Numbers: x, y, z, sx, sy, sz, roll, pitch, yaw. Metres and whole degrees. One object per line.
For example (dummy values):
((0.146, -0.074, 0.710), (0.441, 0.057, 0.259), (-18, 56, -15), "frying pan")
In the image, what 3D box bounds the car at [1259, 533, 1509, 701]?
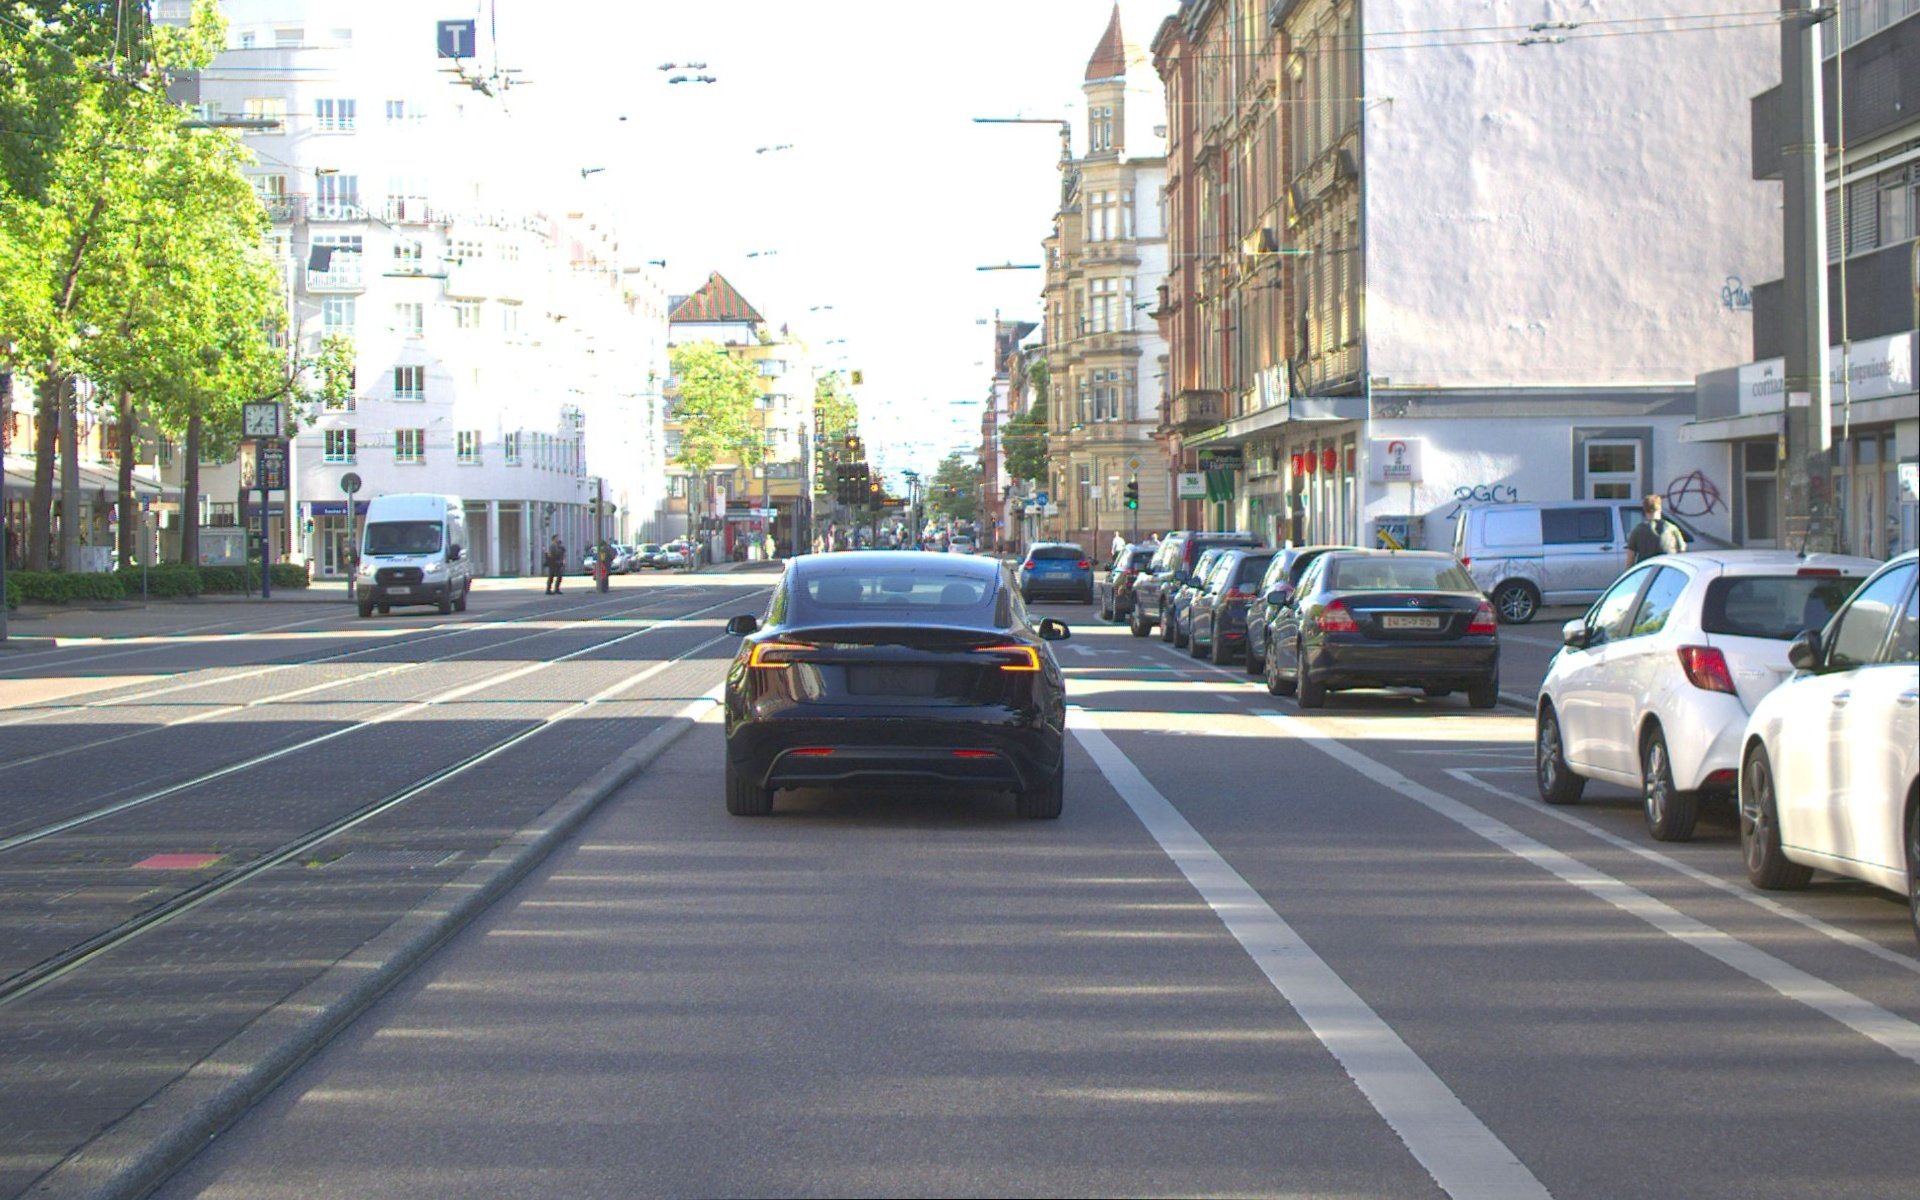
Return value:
((3.936, 0.126, 32.580), (1.710, 1.452, 4.551), (1, 1, -1), "car")

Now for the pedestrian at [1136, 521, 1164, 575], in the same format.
((5.759, -1.575, 104.311), (0.748, 1.611, 0.706), (-1, 0, -3), "pedestrian")

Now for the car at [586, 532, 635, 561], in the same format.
((-16.834, -2.557, 165.722), (1.993, 1.363, 4.000), (0, 1, -1), "car")

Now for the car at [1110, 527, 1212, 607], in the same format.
((3.786, -0.627, 65.169), (1.715, 1.467, 3.719), (0, 1, 0), "car")

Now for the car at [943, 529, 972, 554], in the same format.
((-0.154, -3.761, 221.042), (1.846, 1.587, 4.000), (-1, 1, 0), "car")

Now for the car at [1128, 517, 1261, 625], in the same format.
((3.671, -0.445, 54.404), (1.829, 1.622, 4.095), (1, 0, 0), "car")

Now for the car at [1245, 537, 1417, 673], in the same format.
((4.134, 0.056, 38.713), (1.578, 1.442, 3.309), (1, 0, 0), "car")

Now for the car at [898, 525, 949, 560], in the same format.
((-1.681, -2.604, 157.131), (1.993, 1.520, 4.001), (1, 0, -5), "car")

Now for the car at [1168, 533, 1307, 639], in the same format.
((3.948, -0.195, 49.374), (1.578, 1.439, 3.914), (1, 0, -1), "car")

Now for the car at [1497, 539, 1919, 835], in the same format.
((4.228, 0.424, 19.178), (1.601, 1.438, 3.885), (2, 0, -3), "car")

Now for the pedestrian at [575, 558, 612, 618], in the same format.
((-10.504, -0.346, 98.599), (0.845, 1.689, 0.796), (2, 1, 7), "pedestrian")

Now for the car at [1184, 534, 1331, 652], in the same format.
((3.786, -0.084, 44.254), (1.461, 1.427, 3.814), (1, 0, -1), "car")

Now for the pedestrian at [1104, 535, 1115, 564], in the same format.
((6.282, -2.134, 144.510), (0.441, 1.217, 0.389), (0, 1, -1), "pedestrian")

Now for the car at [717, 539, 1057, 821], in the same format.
((-0.430, 0.381, 19.533), (1.719, 1.400, 3.710), (1, 1, -2), "car")

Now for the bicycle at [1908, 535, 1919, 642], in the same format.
((12.027, -0.120, 39.743), (2.174, 1.215, 0.805), (1, 0, -33), "bicycle")

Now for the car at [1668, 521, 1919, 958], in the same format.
((4.164, 0.492, 13.781), (1.541, 1.564, 4.444), (1, 1, -2), "car")

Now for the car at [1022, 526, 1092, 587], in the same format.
((2.315, -1.040, 82.923), (1.593, 1.428, 3.686), (0, 1, 0), "car")

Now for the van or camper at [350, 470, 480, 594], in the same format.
((-12.208, -1.492, 77.476), (2.139, 2.645, 6.881), (-1, 1, -3), "van or camper")

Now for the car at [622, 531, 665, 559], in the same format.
((-17.490, -3.065, 190.123), (1.993, 1.490, 4.000), (-1, 1, -1), "car")

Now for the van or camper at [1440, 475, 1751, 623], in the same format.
((10.243, -0.816, 55.681), (4.644, 2.129, 1.987), (-3, 0, 4), "van or camper")

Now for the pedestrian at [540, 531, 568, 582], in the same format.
((-11.983, -1.293, 101.440), (0.702, 1.496, 0.795), (1, 0, 0), "pedestrian")

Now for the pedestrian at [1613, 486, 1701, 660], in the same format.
((7.306, -0.284, 36.049), (0.721, 1.806, 0.889), (0, 0, -1), "pedestrian")
